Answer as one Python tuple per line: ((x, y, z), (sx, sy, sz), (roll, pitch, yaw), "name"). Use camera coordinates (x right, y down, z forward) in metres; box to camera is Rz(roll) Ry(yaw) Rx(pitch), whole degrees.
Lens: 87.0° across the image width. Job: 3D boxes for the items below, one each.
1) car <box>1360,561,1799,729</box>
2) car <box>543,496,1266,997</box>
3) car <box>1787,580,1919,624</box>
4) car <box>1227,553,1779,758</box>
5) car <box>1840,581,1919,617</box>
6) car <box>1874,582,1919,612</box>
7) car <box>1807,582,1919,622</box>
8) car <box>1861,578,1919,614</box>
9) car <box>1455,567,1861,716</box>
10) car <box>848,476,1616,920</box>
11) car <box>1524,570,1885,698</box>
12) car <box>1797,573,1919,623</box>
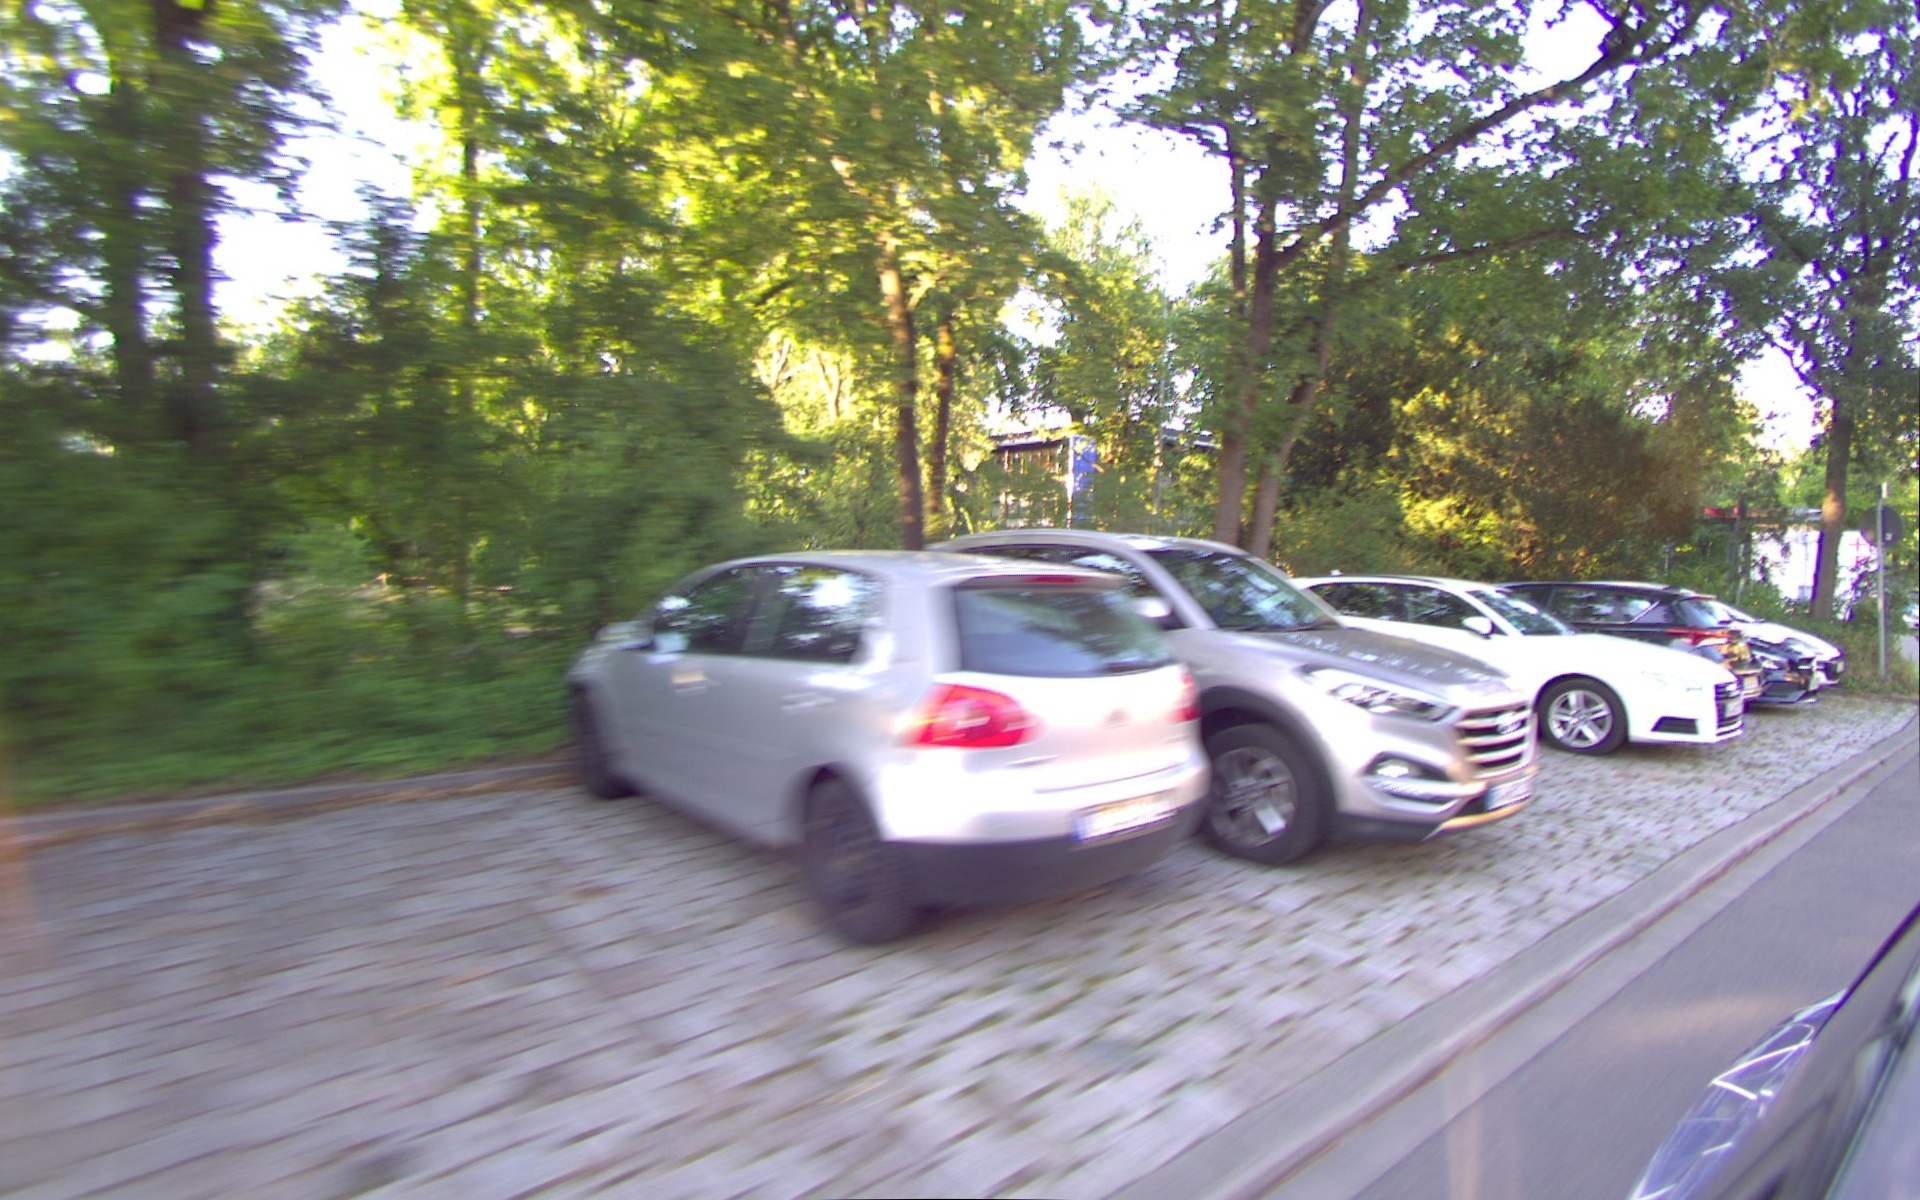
((7.004, 0.382, 11.783), (1.721, 1.574, 3.996), (1, 1, -40), "car")
((-0.646, 0.375, 5.252), (1.695, 1.573, 3.996), (-1, 3, -40), "car")
((38.939, 0.065, 43.529), (1.882, 1.572, 4.938), (0, 4, -40), "car")
((5.121, 0.362, 10.139), (1.823, 1.574, 4.496), (1, 1, -39), "car")
((46.422, -0.028, 49.829), (1.887, 1.556, 4.373), (0, 4, -40), "car")
((54.387, -0.111, 56.788), (1.697, 1.572, 4.373), (0, 4, -40), "car")
((42.698, 0.078, 46.942), (1.882, 1.572, 4.938), (0, 4, -40), "car")
((52.564, -0.189, 55.526), (1.887, 1.802, 4.373), (0, 4, -40), "car")
((8.837, 0.412, 13.097), (1.695, 1.574, 3.996), (1, 1, -40), "car")
((1.351, 0.279, 6.440), (2.000, 1.826, 4.316), (-1, 3, -41), "car")
((10.852, 0.406, 14.989), (1.695, 1.574, 3.996), (1, 1, -40), "car")
((40.843, -0.101, 45.319), (1.882, 1.939, 4.864), (0, 4, -40), "car")
